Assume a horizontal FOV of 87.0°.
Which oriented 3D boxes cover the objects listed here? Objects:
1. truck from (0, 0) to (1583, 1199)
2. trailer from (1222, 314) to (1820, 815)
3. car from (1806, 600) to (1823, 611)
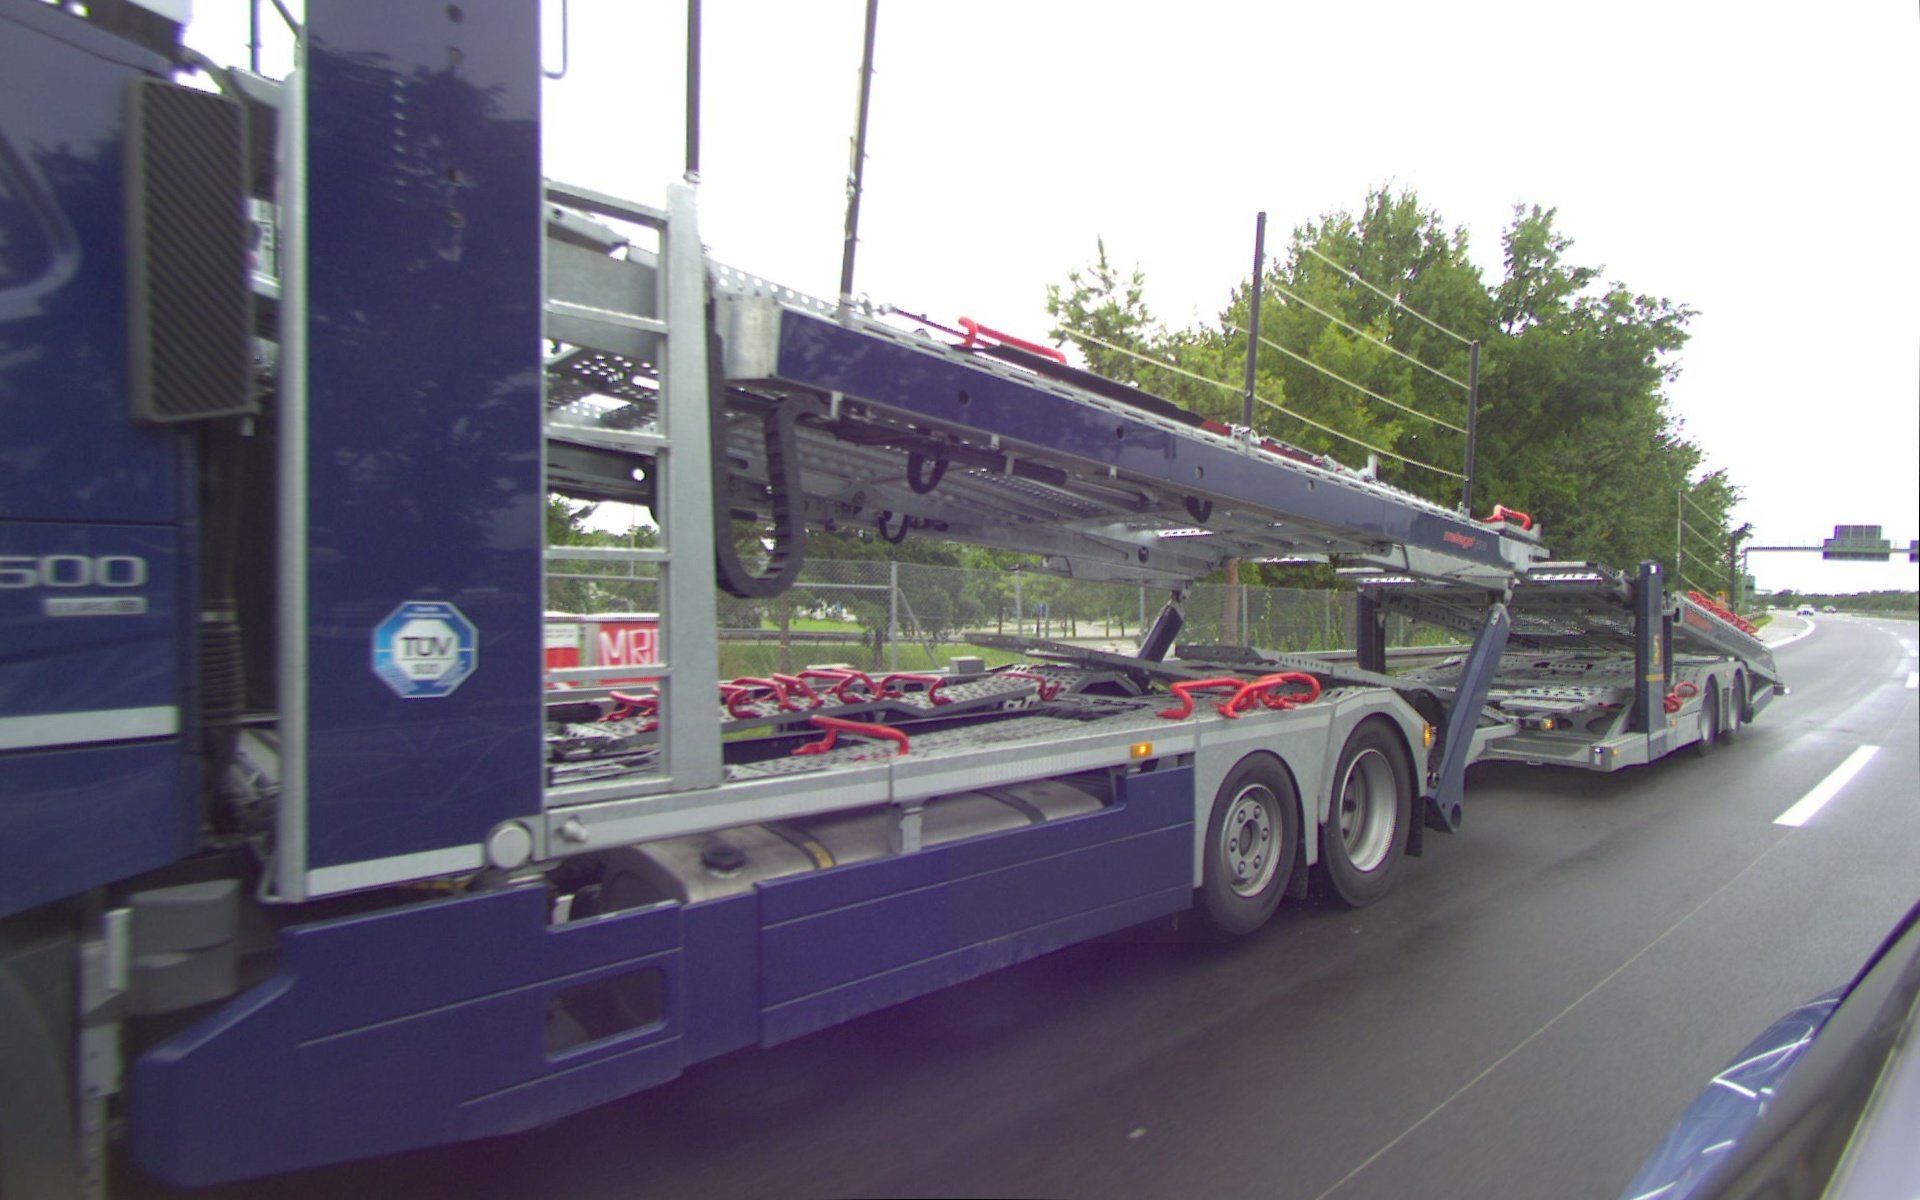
[{"bbox_3d":[-0.218,-0.518,4.523,8.972,4.019,2.741,1,-2,-43],"label":"truck"},{"bbox_3d":[6.968,-0.245,11.248,10.231,3.326,2.781,0,1,-43],"label":"trailer"},{"bbox_3d":[130.467,0.861,154.484,1.620,1.662,3.730,1,1,35],"label":"car"}]
